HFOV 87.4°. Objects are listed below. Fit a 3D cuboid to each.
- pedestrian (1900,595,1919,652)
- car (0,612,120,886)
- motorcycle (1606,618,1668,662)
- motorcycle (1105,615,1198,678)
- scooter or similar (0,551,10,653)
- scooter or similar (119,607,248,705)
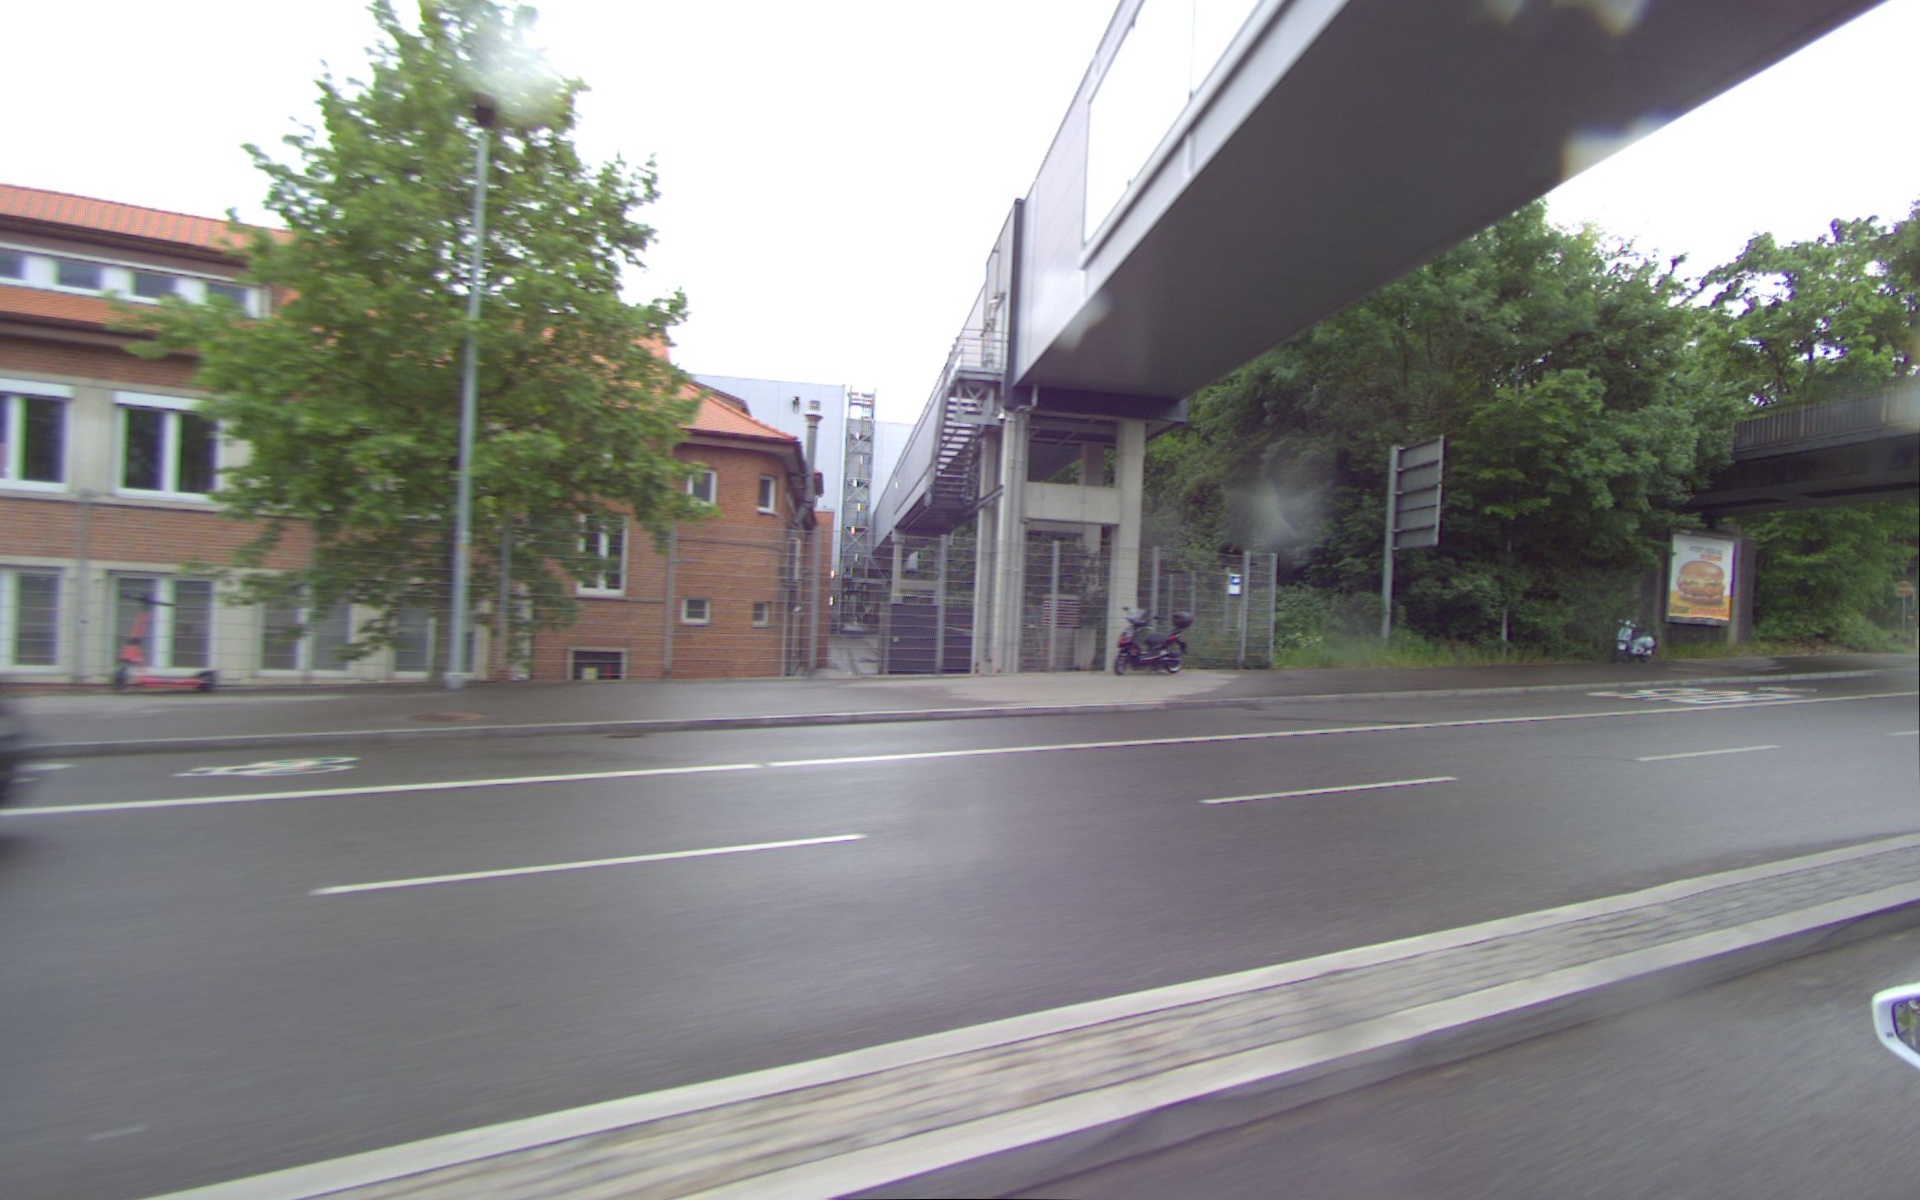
[{"bbox_3d":[31.357,0.778,32.869,0.786,1.840,0.519,1,1,-17],"label":"pedestrian"},{"bbox_3d":[-7.463,0.753,4.980,4.697,1.380,2.055,1,0,-28],"label":"car"},{"bbox_3d":[18.694,1.083,27.725,1.905,1.174,0.467,0,0,-24],"label":"motorcycle"},{"bbox_3d":[3.871,0.913,20.245,1.970,1.221,0.467,0,0,-27],"label":"motorcycle"},{"bbox_3d":[-12.222,0.012,11.986,1.286,1.234,0.311,1,0,-15],"label":"scooter or similar"},{"bbox_3d":[-10.108,0.720,13.109,1.288,1.234,0.311,1,0,-22],"label":"scooter or similar"}]
